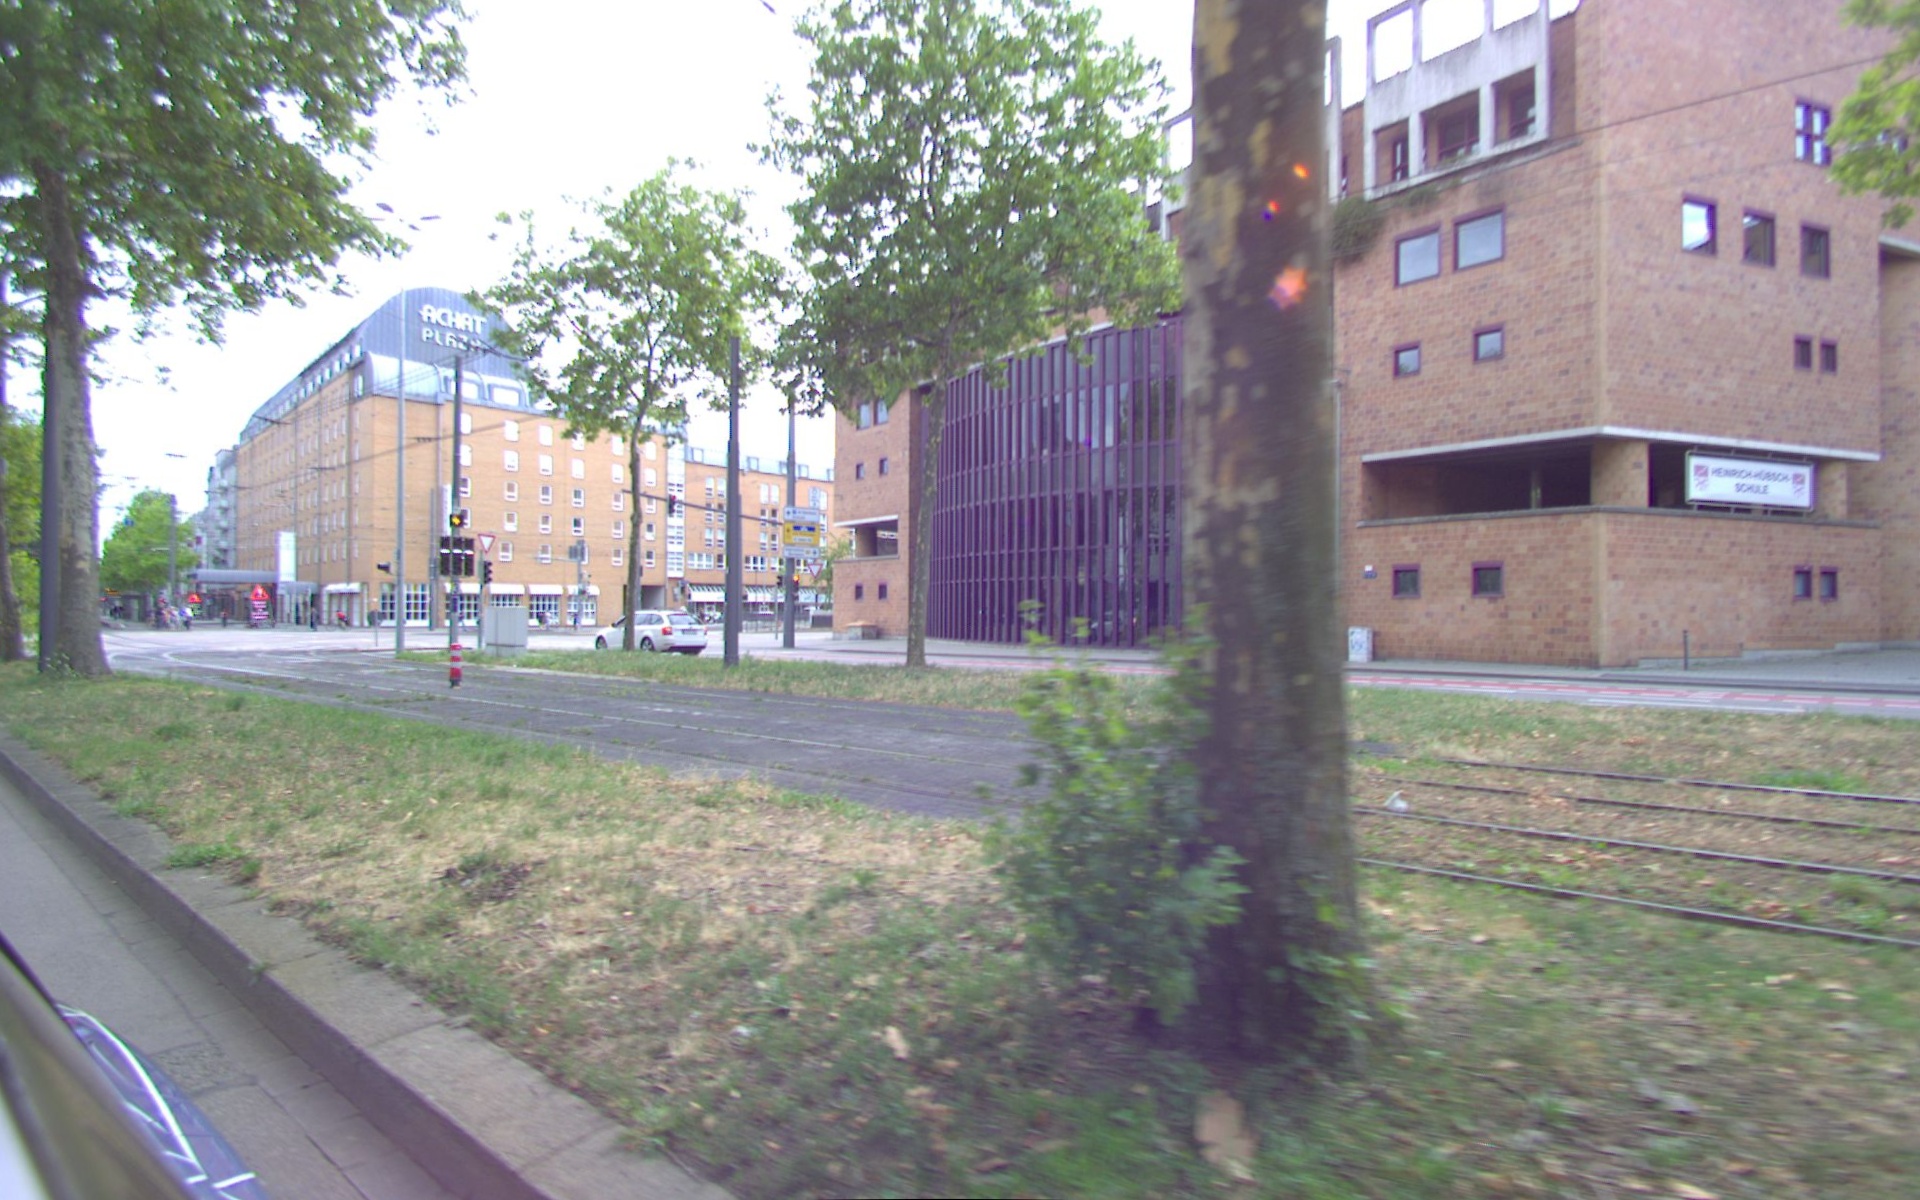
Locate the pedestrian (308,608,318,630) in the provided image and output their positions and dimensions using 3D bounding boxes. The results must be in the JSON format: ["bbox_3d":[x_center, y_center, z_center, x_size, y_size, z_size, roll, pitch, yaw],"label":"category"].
[{"bbox_3d":[-51.217,1.505,80.103,0.534,1.719,0.556,0,-1,41],"label":"pedestrian"}]

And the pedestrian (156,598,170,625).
[{"bbox_3d":[-57.385,0.842,72.882,0.534,1.966,0.684,0,-1,39],"label":"pedestrian"}]

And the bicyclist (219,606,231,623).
[{"bbox_3d":[-67.117,1.344,92.462,0.816,1.512,0.643,0,-1,37],"label":"bicyclist"}]

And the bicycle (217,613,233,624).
[{"bbox_3d":[-67.108,1.718,92.448,1.890,0.943,0.651,1,-1,37],"label":"bicycle"}]

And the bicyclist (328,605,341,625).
[{"bbox_3d":[-49.491,1.195,80.069,0.851,1.512,0.638,1,-1,-34],"label":"bicyclist"}]

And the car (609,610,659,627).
[{"bbox_3d":[-28.931,1.615,89.832,1.798,1.490,3.948,-1,-1,38],"label":"car"}]

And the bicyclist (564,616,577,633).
[{"bbox_3d":[-34.164,2.170,88.844,0.636,1.512,0.854,0,-1,39],"label":"bicyclist"}]

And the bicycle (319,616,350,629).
[{"bbox_3d":[-49.486,1.814,80.068,2.026,1.016,0.642,1,-1,-35],"label":"bicycle"}]

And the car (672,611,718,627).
[{"bbox_3d":[-24.966,1.785,95.449,1.700,1.453,3.949,0,-1,38],"label":"car"}]

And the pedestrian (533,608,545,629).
[{"bbox_3d":[-34.771,1.506,83.649,0.749,1.745,0.571,0,-1,35],"label":"pedestrian"}]

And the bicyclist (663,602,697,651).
[{"bbox_3d":[-9.344,0.874,33.793,0.901,1.622,0.715,-1,-1,40],"label":"bicyclist"}]

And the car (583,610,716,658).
[{"bbox_3d":[-9.830,1.026,31.867,4.655,1.432,1.765,-1,-1,40],"label":"car"}]

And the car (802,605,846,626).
[{"bbox_3d":[-14.538,1.661,108.247,1.700,2.247,4.773,0,-1,38],"label":"car"}]

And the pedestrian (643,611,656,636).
[{"bbox_3d":[-21.615,1.626,70.431,0.750,1.745,0.571,0,-1,40],"label":"pedestrian"}]

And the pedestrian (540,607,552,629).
[{"bbox_3d":[-34.458,1.499,84.183,0.749,1.745,0.571,0,-1,35],"label":"pedestrian"}]

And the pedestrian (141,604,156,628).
[{"bbox_3d":[-59.497,1.192,74.214,0.533,1.719,0.677,0,-1,33],"label":"pedestrian"}]

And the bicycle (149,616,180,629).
[{"bbox_3d":[-57.532,1.633,73.223,0.499,0.895,1.688,0,-1,44],"label":"bicycle"}]

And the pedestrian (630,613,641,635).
[{"bbox_3d":[-25.860,1.923,80.708,0.576,1.745,0.625,0,-1,30],"label":"pedestrian"}]

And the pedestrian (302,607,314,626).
[{"bbox_3d":[-54.989,1.397,85.309,0.642,1.518,0.534,1,-1,7],"label":"pedestrian"}]

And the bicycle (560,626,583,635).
[{"bbox_3d":[-34.137,2.697,88.864,0.639,0.787,1.773,0,-1,38],"label":"bicycle"}]
